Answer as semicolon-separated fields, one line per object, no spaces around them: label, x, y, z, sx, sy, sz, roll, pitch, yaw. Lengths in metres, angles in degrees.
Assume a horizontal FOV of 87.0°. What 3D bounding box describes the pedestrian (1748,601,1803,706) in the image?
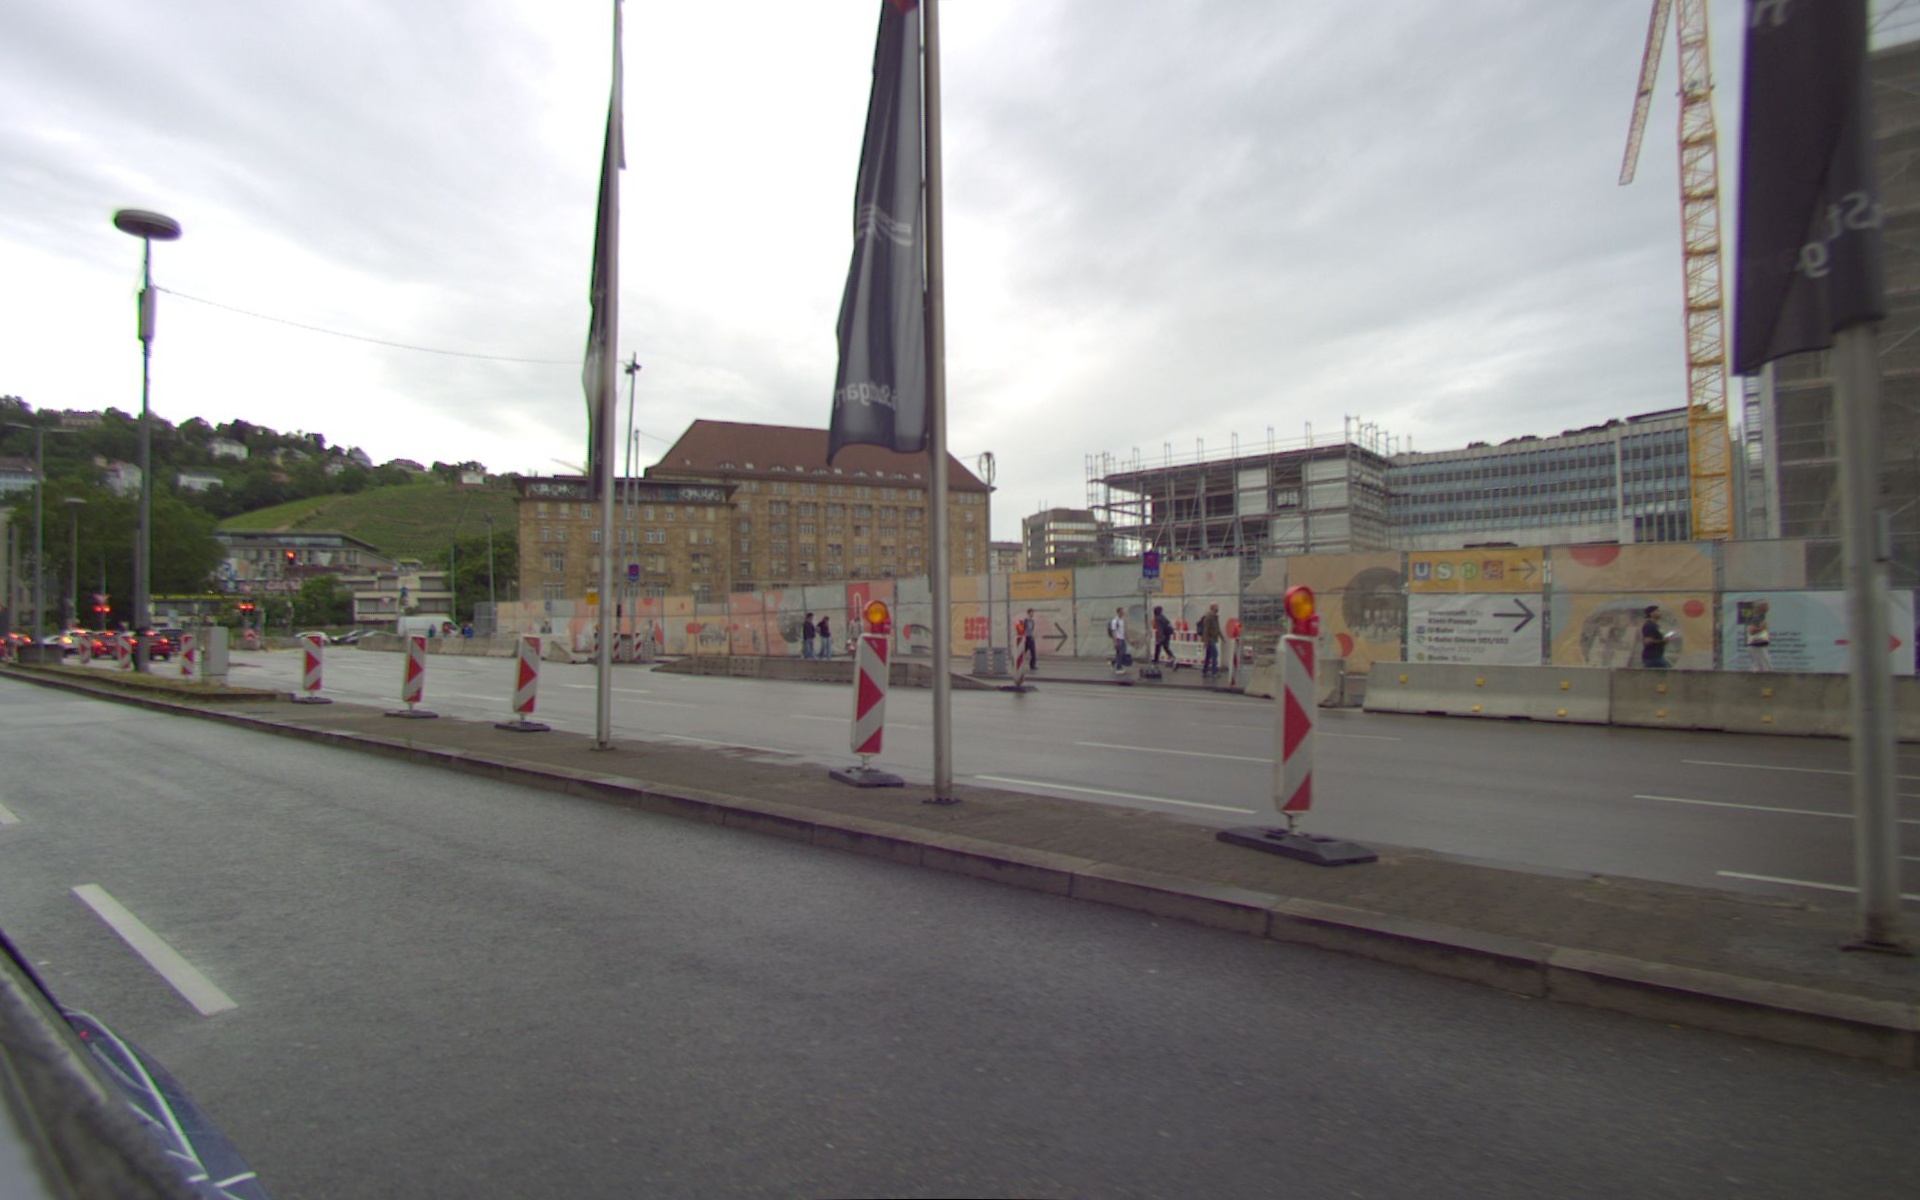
pedestrian;14.715;0.955;18.265;0.717;1.850;0.475;-1;-1;41

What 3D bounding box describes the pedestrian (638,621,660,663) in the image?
pedestrian;-14.193;1.906;46.206;0.720;1.850;0.656;-1;-1;41

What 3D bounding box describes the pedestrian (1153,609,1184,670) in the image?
pedestrian;5.755;1.079;27.959;0.544;1.628;0.706;-1;-1;41

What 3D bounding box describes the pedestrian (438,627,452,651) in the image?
pedestrian;-35.539;2.720;69.897;0.544;1.628;0.706;-1;-1;41

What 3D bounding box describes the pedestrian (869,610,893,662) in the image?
pedestrian;-2.832;1.277;36.073;0.651;1.850;0.557;-1;-1;-28

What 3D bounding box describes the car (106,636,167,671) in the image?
car;-42.058;2.701;51.661;3.914;1.707;1.762;-2;-2;41

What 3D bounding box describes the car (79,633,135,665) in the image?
car;-47.738;2.709;56.625;3.913;1.707;1.763;-1;0;40

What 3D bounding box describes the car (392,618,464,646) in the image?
car;-46.099;2.775;87.682;5.171;2.254;2.002;-1;0;-44

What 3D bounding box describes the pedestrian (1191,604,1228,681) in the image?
pedestrian;6.177;1.042;25.091;0.717;1.850;0.475;-1;-1;41

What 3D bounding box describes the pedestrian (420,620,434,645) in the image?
pedestrian;-36.252;2.213;68.818;0.544;1.628;0.706;-1;-1;41

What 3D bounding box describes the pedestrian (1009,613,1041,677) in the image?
pedestrian;1.926;1.317;29.896;0.717;1.850;0.579;-1;-1;41

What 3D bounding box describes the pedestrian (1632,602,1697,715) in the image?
pedestrian;12.004;0.975;17.244;0.819;1.850;0.572;-1;-1;41

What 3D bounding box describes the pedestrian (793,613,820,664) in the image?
pedestrian;-5.326;1.329;35.128;0.704;1.746;0.719;-1;-1;-30

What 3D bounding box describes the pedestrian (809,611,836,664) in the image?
pedestrian;-4.931;1.323;36.197;0.704;1.850;0.719;-1;-1;-30

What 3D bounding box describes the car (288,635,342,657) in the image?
car;-62.245;4.419;97.746;4.136;1.871;1.833;-1;0;-44

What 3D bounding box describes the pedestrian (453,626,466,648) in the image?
pedestrian;-37.489;2.752;75.735;0.544;1.628;0.706;-1;-1;41

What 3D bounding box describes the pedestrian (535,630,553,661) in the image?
pedestrian;-22.386;2.423;54.463;0.544;1.628;0.706;-1;-1;41

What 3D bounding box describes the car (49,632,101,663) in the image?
car;-52.818;2.816;60.364;3.913;1.707;1.763;-1;0;40

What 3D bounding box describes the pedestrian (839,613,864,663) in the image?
pedestrian;-3.843;1.336;35.919;0.704;1.757;0.565;-1;-1;-28

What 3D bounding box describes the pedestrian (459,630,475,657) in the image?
pedestrian;-30.864;2.705;63.381;0.544;1.628;0.706;-1;-1;41

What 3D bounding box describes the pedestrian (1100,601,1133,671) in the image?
pedestrian;4.204;0.968;27.217;0.717;1.850;0.475;-1;-1;41

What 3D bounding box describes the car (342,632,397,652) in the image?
car;-51.351;3.612;88.016;3.934;1.644;2.005;0;-2;-36
